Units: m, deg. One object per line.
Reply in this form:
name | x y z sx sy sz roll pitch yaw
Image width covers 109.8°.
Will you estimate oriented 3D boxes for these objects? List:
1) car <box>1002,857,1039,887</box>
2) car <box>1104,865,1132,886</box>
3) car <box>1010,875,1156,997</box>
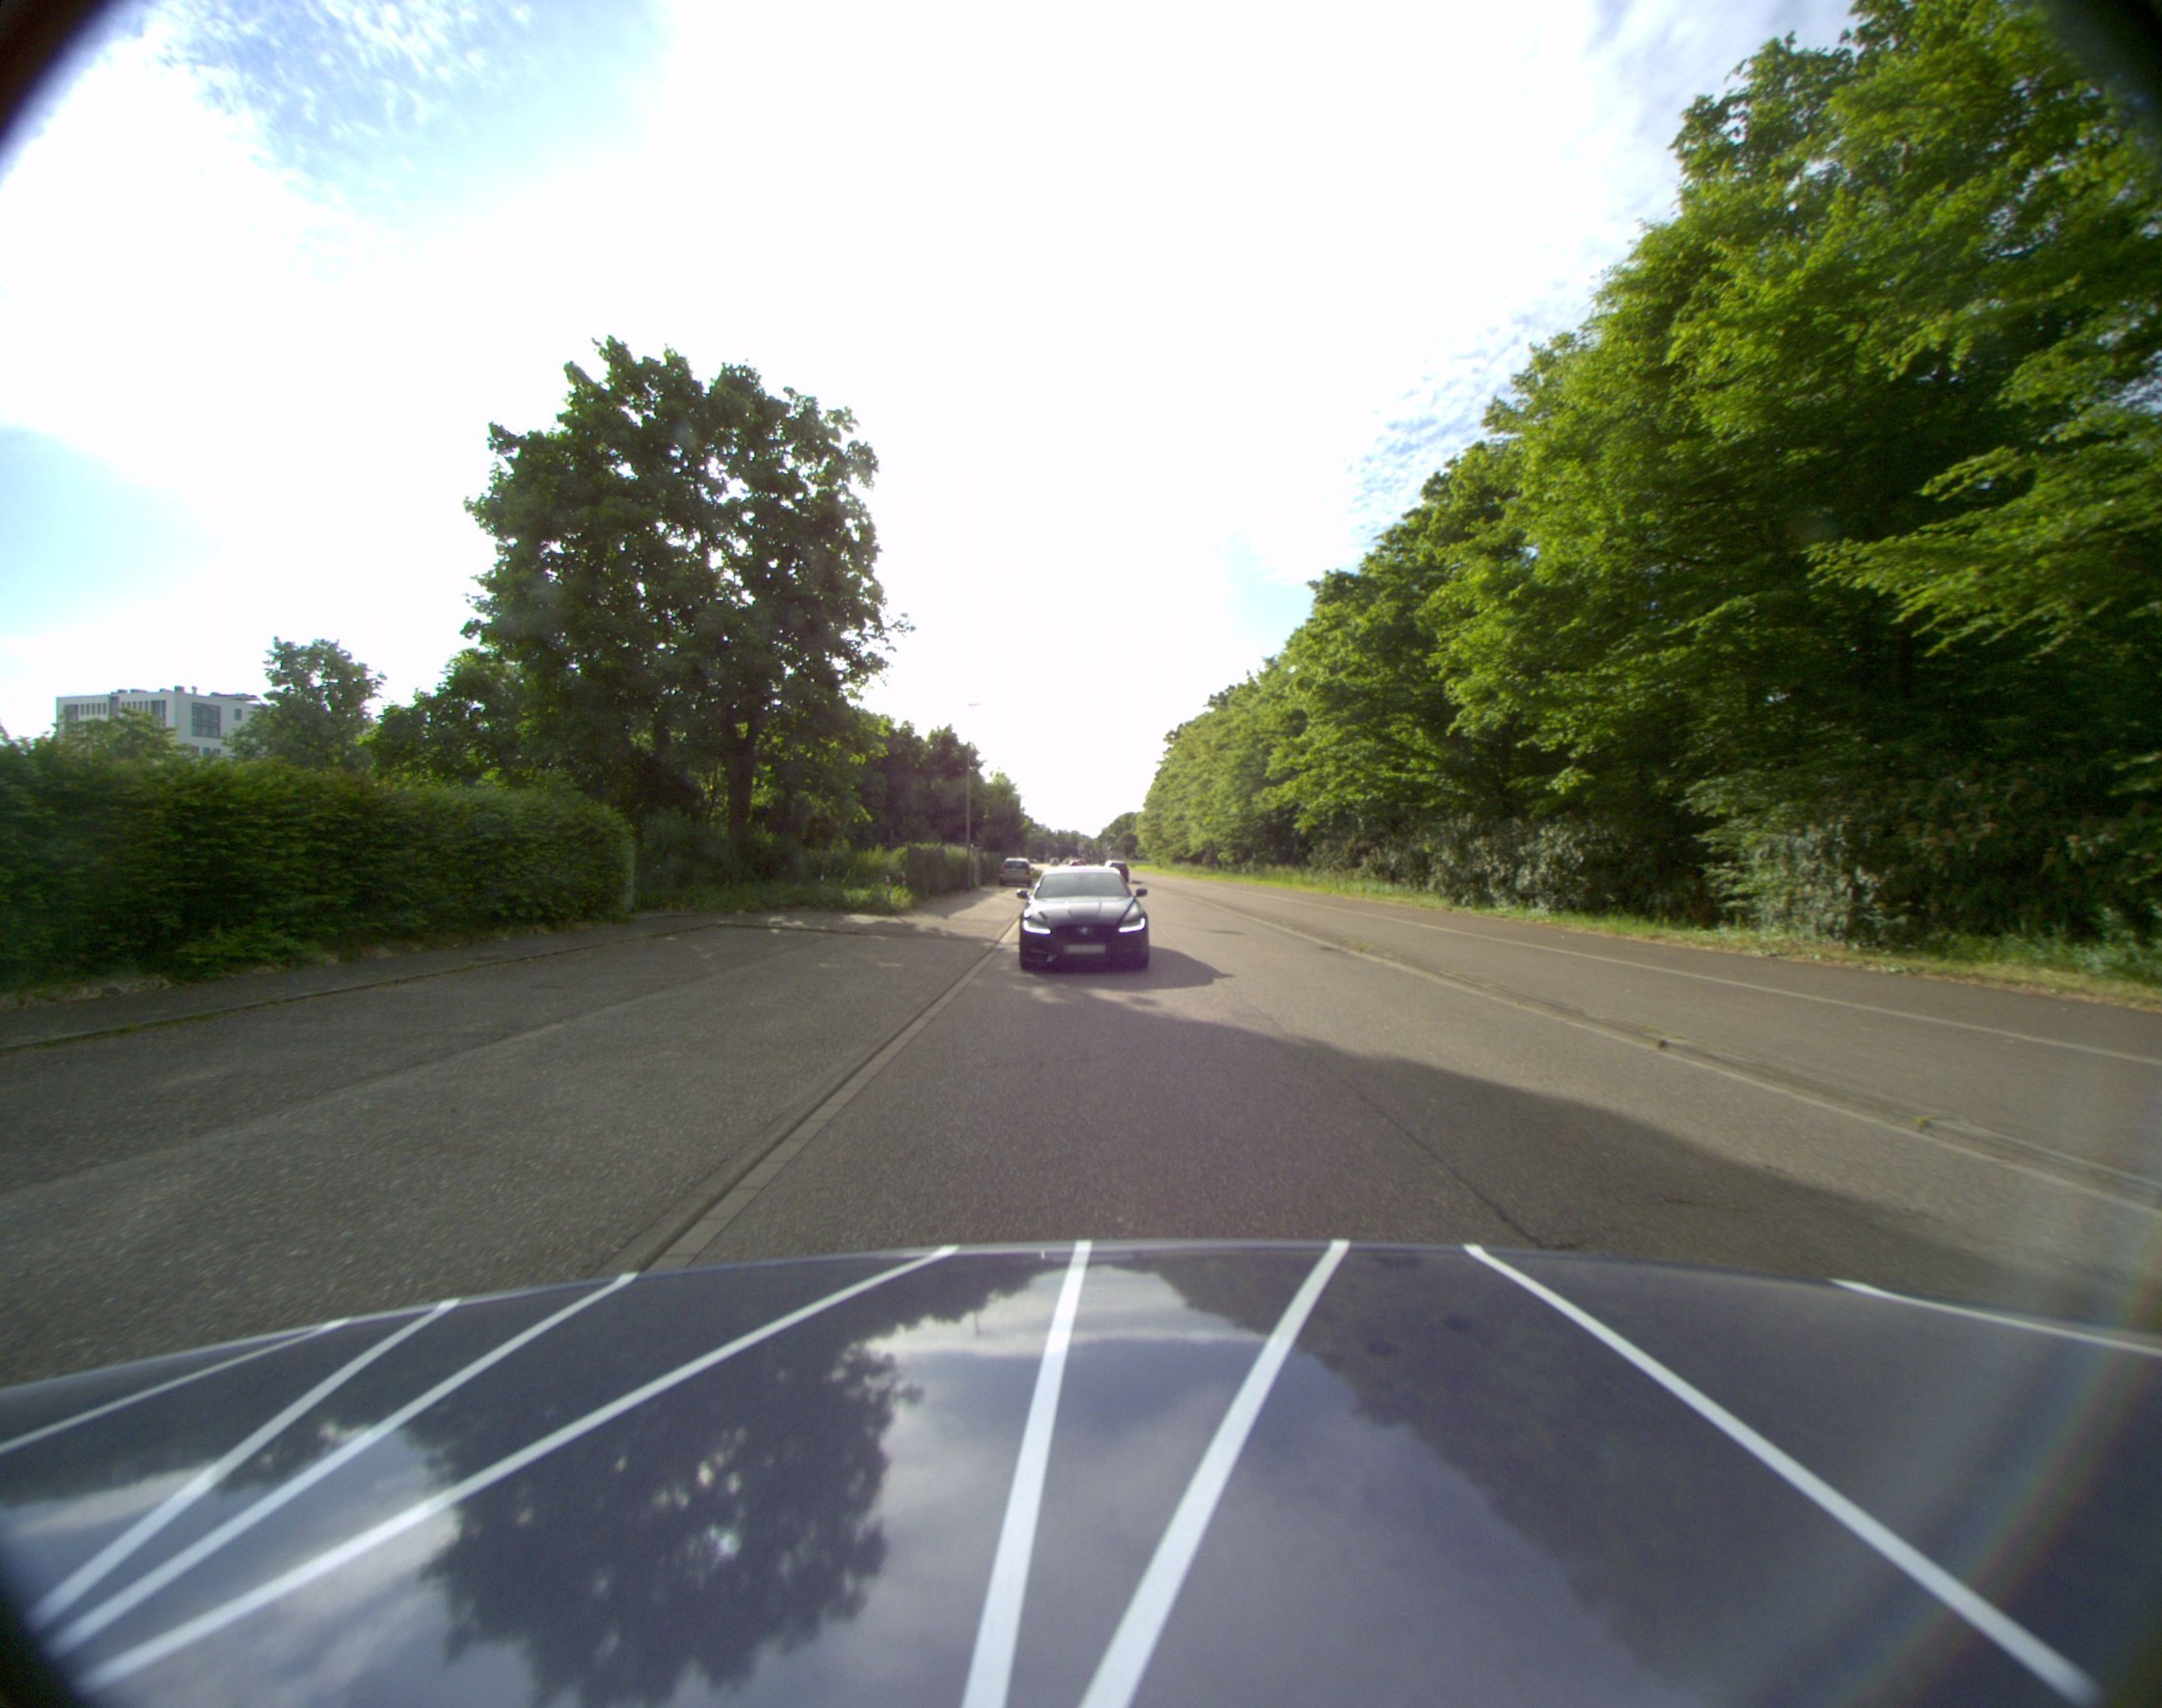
car | -3.433 0.975 43.434 1.751 1.561 3.861 2 0 0
car | 2.633 1.508 54.231 1.751 1.380 3.861 2 0 0
car | 0.072 1.165 12.506 1.936 1.500 4.680 0 0 1
